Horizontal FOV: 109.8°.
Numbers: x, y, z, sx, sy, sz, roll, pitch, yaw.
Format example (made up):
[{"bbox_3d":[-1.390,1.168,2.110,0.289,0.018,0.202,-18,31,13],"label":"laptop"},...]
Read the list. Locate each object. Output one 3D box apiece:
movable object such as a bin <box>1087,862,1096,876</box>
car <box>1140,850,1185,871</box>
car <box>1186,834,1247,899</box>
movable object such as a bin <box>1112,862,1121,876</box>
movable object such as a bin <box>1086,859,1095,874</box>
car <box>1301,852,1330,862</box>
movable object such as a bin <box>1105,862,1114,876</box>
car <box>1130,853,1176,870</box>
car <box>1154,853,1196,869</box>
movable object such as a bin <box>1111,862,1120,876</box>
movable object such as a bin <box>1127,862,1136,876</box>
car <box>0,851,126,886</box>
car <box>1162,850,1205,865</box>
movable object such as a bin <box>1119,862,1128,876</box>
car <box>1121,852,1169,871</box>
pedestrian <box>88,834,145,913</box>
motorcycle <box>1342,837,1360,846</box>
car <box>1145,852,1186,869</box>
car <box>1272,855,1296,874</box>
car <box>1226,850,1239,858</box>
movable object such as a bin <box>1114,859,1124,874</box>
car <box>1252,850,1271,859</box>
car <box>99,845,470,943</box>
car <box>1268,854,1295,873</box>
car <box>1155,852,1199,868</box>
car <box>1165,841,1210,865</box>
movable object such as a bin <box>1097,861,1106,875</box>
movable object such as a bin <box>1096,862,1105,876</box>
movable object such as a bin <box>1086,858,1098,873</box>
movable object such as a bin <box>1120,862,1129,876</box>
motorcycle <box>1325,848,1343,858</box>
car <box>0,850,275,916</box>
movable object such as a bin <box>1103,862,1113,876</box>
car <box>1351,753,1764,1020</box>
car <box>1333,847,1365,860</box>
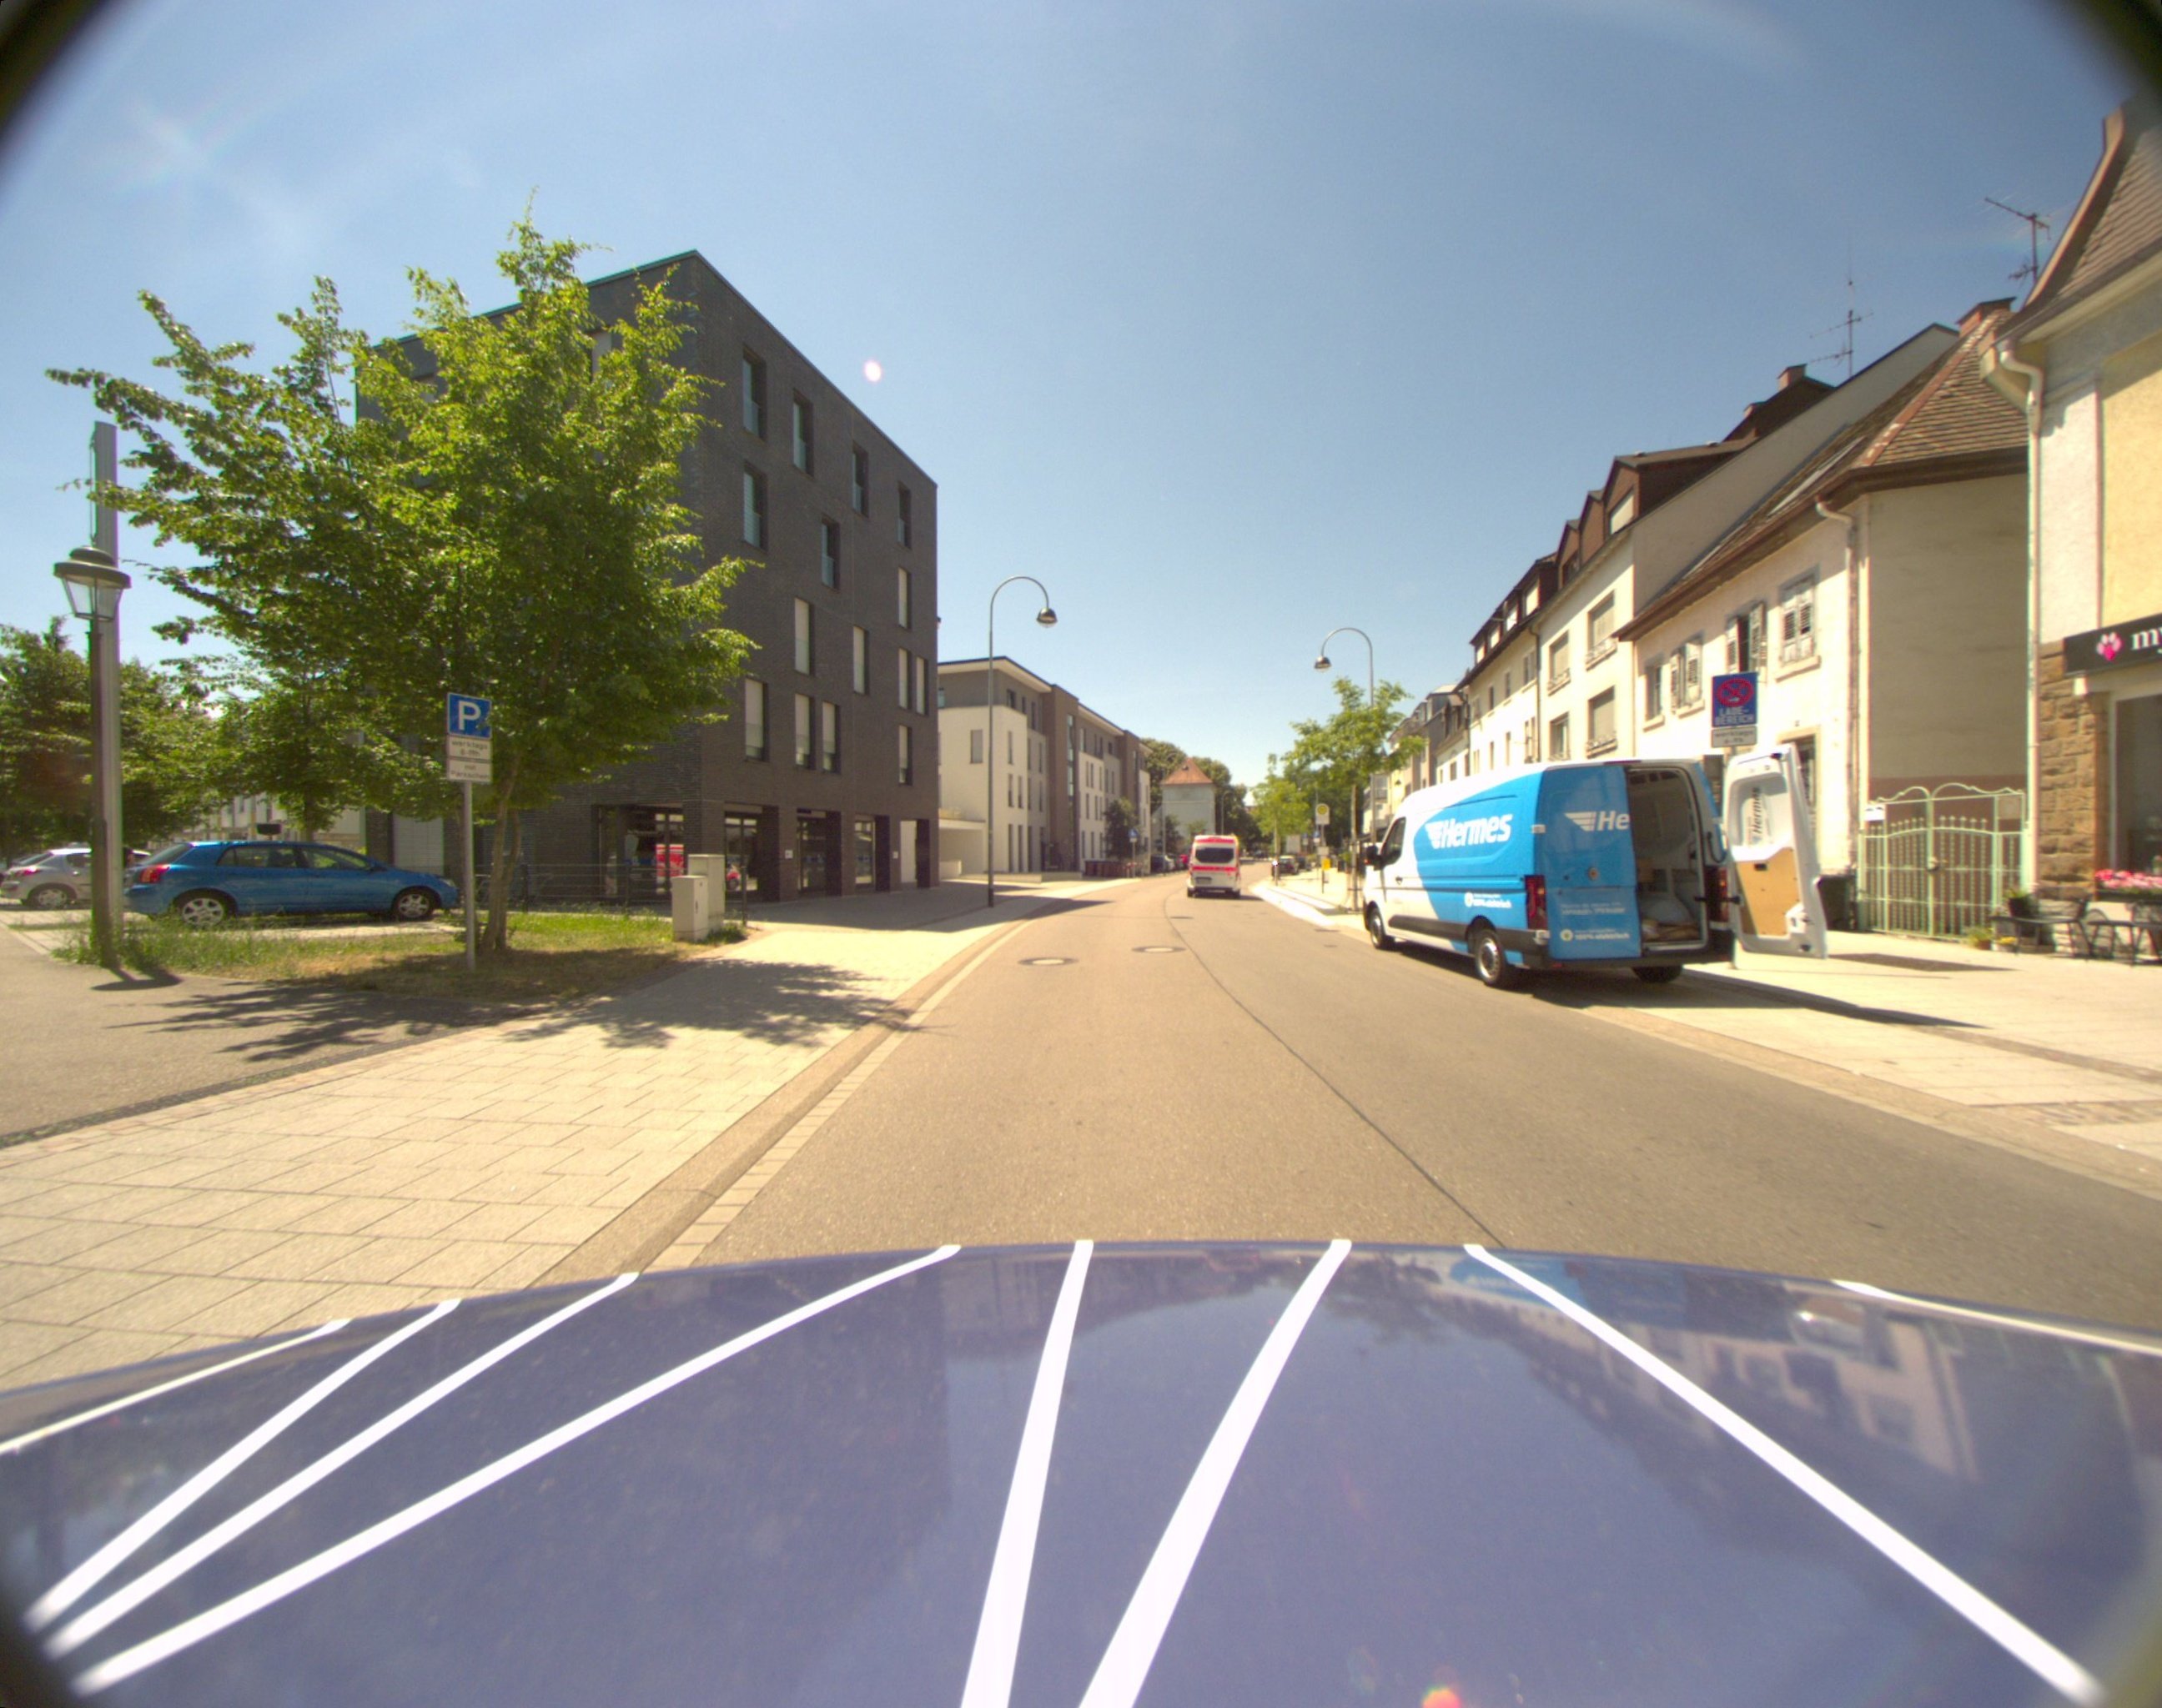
[{"bbox_3d":[0.740,0.997,51.844,0.474,0.925,0.529,2,1,17],"label":"movable object such as a bin"},{"bbox_3d":[7.395,0.565,68.900,3.813,1.776,1.842,0,1,15],"label":"car"},{"bbox_3d":[5.312,0.447,30.176,2.160,2.348,5.251,1,0,9],"label":"car"},{"bbox_3d":[2.449,1.009,51.891,0.465,0.925,0.523,2,1,17],"label":"movable object such as a bin"},{"bbox_3d":[0.681,0.871,53.523,0.570,1.036,0.560,2,1,4],"label":"movable object such as a bin"},{"bbox_3d":[36.177,0.466,117.373,3.942,1.528,1.833,0,1,-17],"label":"car"},{"bbox_3d":[1.955,0.995,52.049,0.465,0.925,0.523,2,1,17],"label":"movable object such as a bin"},{"bbox_3d":[6.301,0.645,66.388,3.813,1.474,1.780,0,1,15],"label":"car"},{"bbox_3d":[9.160,0.686,73.618,3.813,1.454,1.654,0,1,16],"label":"car"},{"bbox_3d":[2.330,1.011,51.326,0.474,0.925,0.529,2,1,17],"label":"movable object such as a bin"},{"bbox_3d":[3.448,1.035,51.588,0.474,0.925,0.529,2,1,17],"label":"movable object such as a bin"},{"bbox_3d":[-45.184,0.628,33.106,1.812,1.432,4.181,1,0,27],"label":"car"},{"bbox_3d":[11.177,0.392,82.976,4.375,1.520,1.721,0,0,17],"label":"car"},{"bbox_3d":[2.861,1.026,51.191,0.474,0.925,0.529,2,1,17],"label":"movable object such as a bin"},{"bbox_3d":[5.397,0.621,64.024,3.660,1.437,1.537,2,2,19],"label":"car"},{"bbox_3d":[-22.249,0.439,17.532,0.634,1.780,0.700,1,0,27],"label":"pedestrian"},{"bbox_3d":[36.303,-1.673,102.255,2.319,1.317,0.726,0,1,20],"label":"motorcycle"},{"bbox_3d":[7.964,0.606,71.540,3.612,1.454,1.619,1,1,16],"label":"car"},{"bbox_3d":[16.209,0.815,60.456,1.756,1.437,4.455,1,0,16],"label":"car"},{"bbox_3d":[27.609,0.006,138.920,1.685,1.475,4.087,0,0,2],"label":"car"},{"bbox_3d":[2.721,0.898,54.165,0.569,1.054,0.561,2,1,19],"label":"movable object such as a bin"},{"bbox_3d":[28.583,0.063,120.304,1.621,1.445,3.861,1,1,-6],"label":"car"},{"bbox_3d":[-13.670,0.614,13.354,1.812,1.432,4.181,-1,-1,30],"label":"car"},{"bbox_3d":[17.229,0.825,65.221,1.683,1.475,3.774,-3,-1,22],"label":"car"},{"bbox_3d":[9.880,0.622,78.004,4.353,1.542,1.654,0,1,14],"label":"car"},{"bbox_3d":[12.332,-0.096,88.013,4.860,2.720,1.853,0,1,18],"label":"car"},{"bbox_3d":[1.407,0.979,52.221,0.465,0.925,0.523,2,1,17],"label":"movable object such as a bin"},{"bbox_3d":[1.334,1.003,51.620,0.474,0.925,0.529,2,1,17],"label":"movable object such as a bin"},{"bbox_3d":[0.792,0.842,54.548,0.646,1.054,0.626,2,1,19],"label":"movable object such as a bin"},{"bbox_3d":[2.956,1.019,51.739,0.467,0.925,0.529,2,1,17],"label":"movable object such as a bin"},{"bbox_3d":[35.458,-0.173,106.484,2.319,1.317,0.726,0,1,20],"label":"motorcycle"},{"bbox_3d":[-23.174,0.644,18.760,1.812,1.432,4.181,1,0,30],"label":"car"},{"bbox_3d":[1.827,1.007,51.478,0.474,0.925,0.529,2,1,17],"label":"movable object such as a bin"},{"bbox_3d":[5.524,0.315,10.009,2.097,2.483,5.504,-2,0,2],"label":"car"},{"bbox_3d":[38.024,-0.090,107.761,4.072,1.729,1.817,0,1,22],"label":"car"}]
